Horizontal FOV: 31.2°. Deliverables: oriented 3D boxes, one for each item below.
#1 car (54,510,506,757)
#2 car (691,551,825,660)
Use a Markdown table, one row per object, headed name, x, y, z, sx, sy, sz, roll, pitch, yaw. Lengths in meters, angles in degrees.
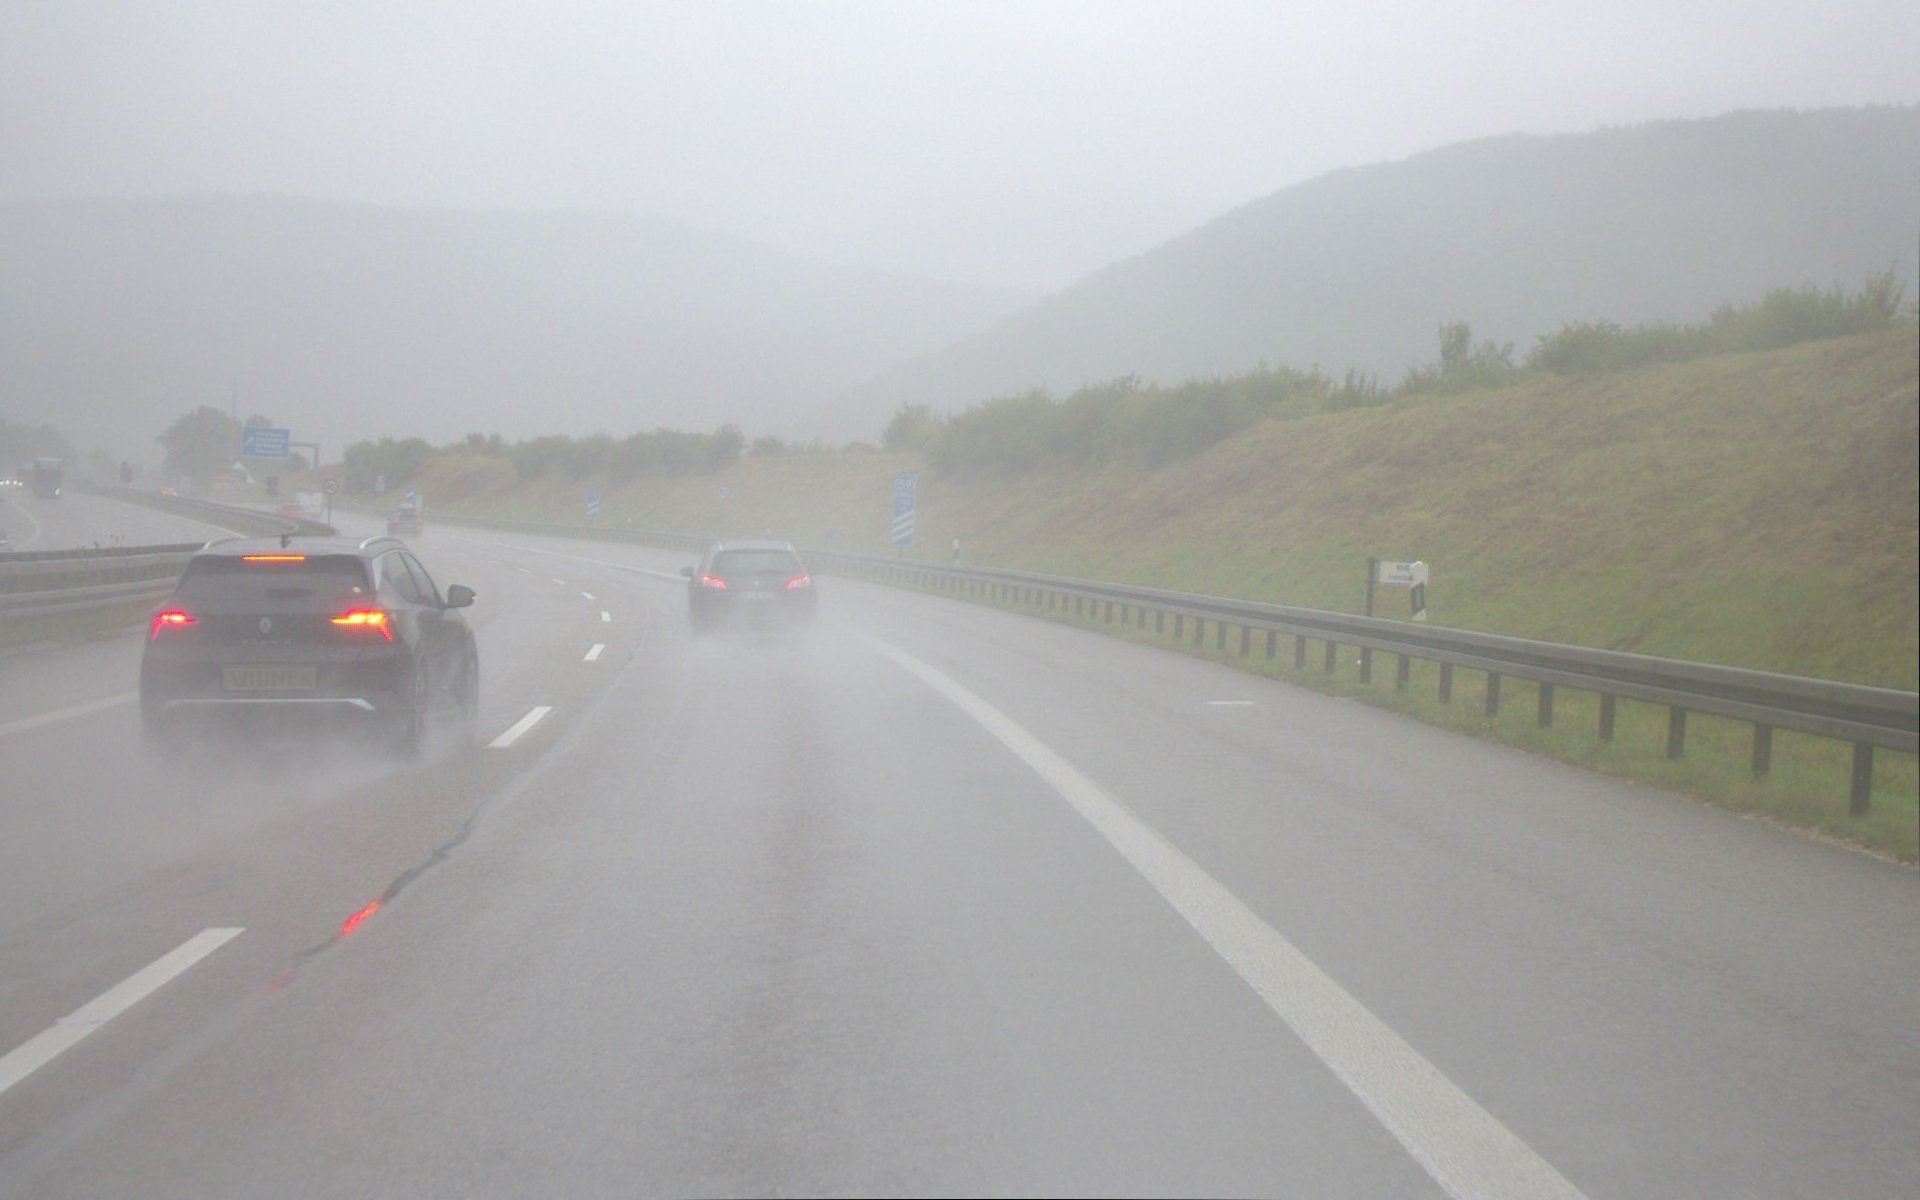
| name | x | y | z | sx | sy | sz | roll | pitch | yaw |
| --- | --- | --- | --- | --- | --- | --- | --- | --- | --- |
| car | -4.657 | 0.194 | 24.353 | 2.406 | 1.510 | 4.784 | 2 | 0 | -2 |
| car | -2.943 | 0.055 | 49.593 | 1.679 | 1.467 | 3.815 | 2 | 1 | -7 |
